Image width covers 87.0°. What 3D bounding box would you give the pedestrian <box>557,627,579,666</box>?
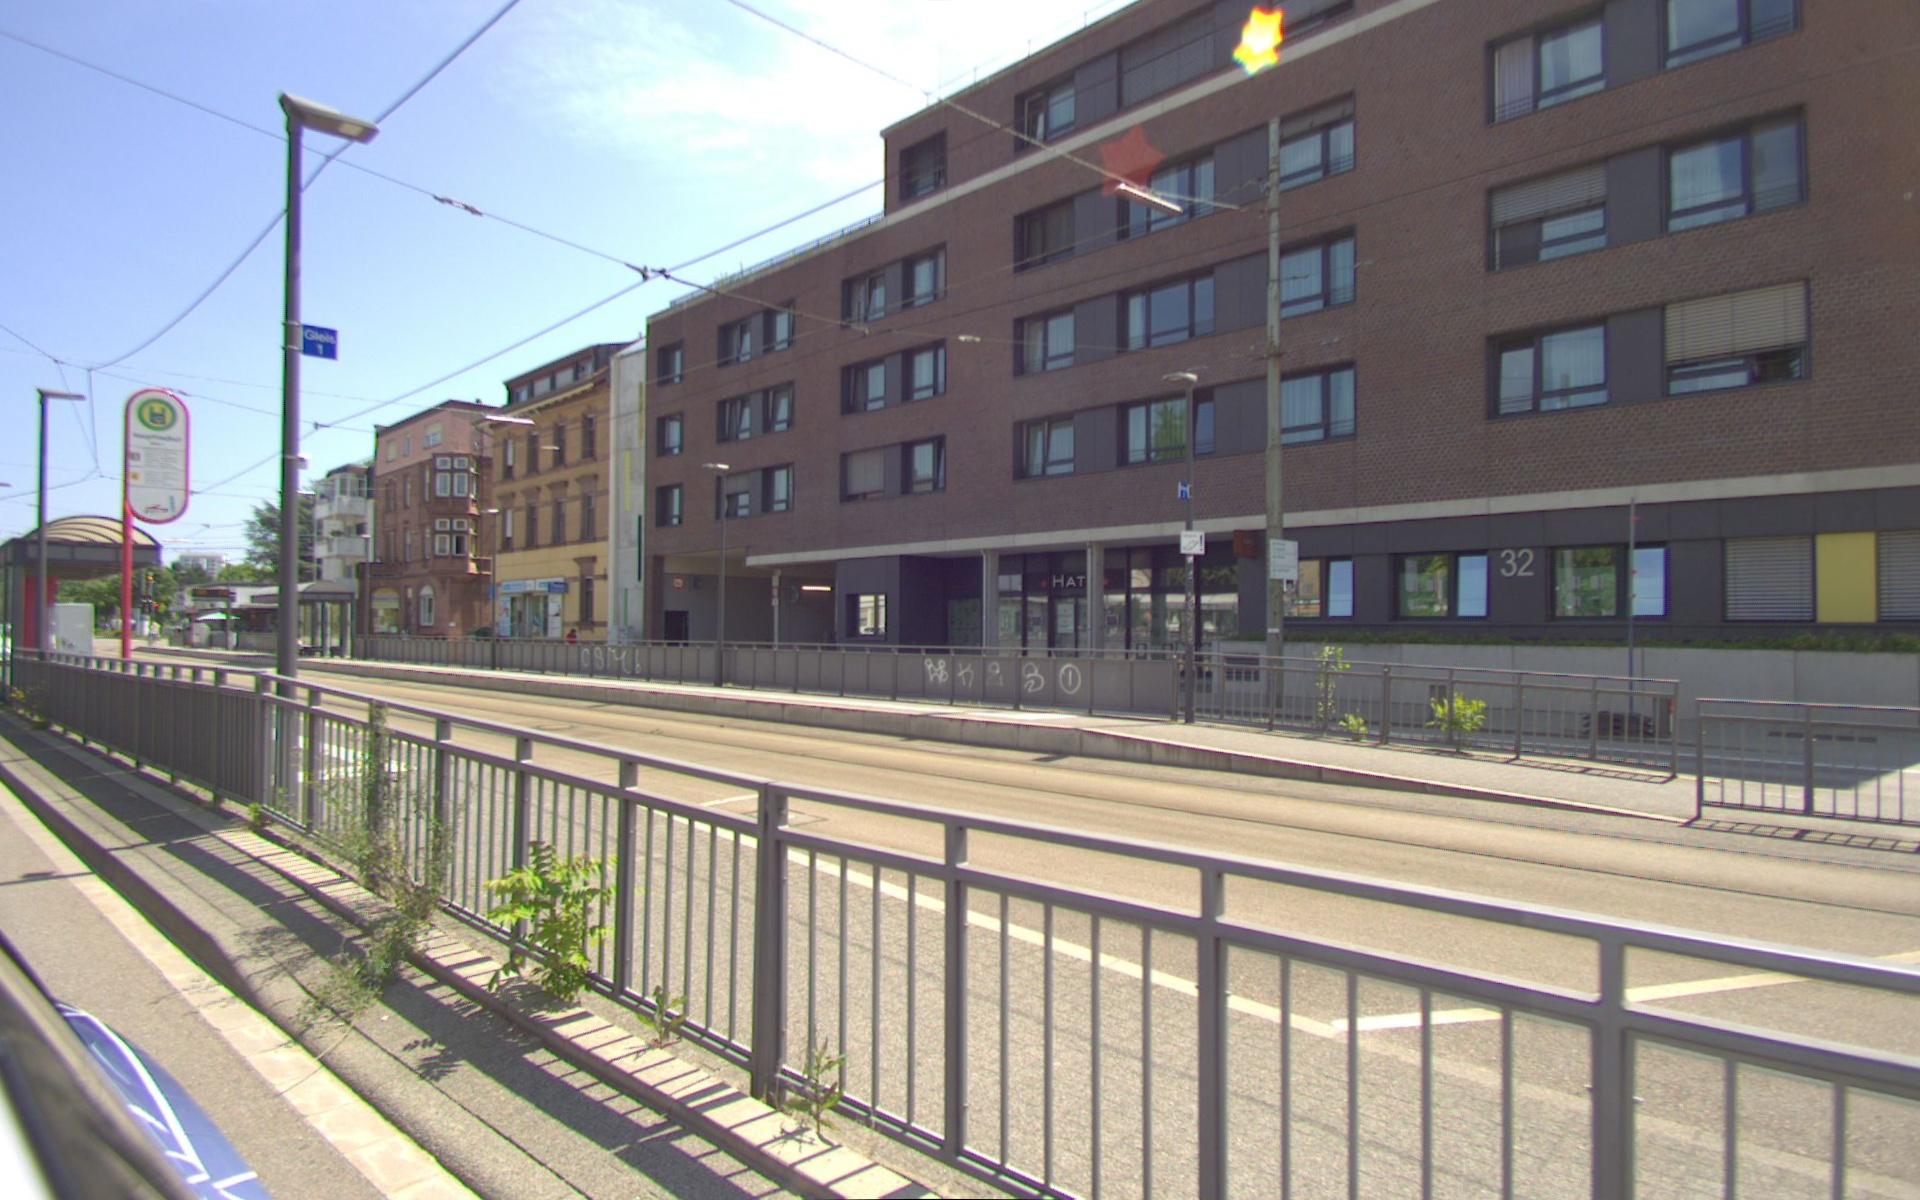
[{"bbox_3d":[-16.308,1.929,42.095,0.715,1.608,0.596,-1,-2,41],"label":"pedestrian"}]

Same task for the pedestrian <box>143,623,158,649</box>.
[{"bbox_3d":[-52.020,2.334,65.018,0.677,1.637,0.589,-1,-3,44],"label":"pedestrian"}]
